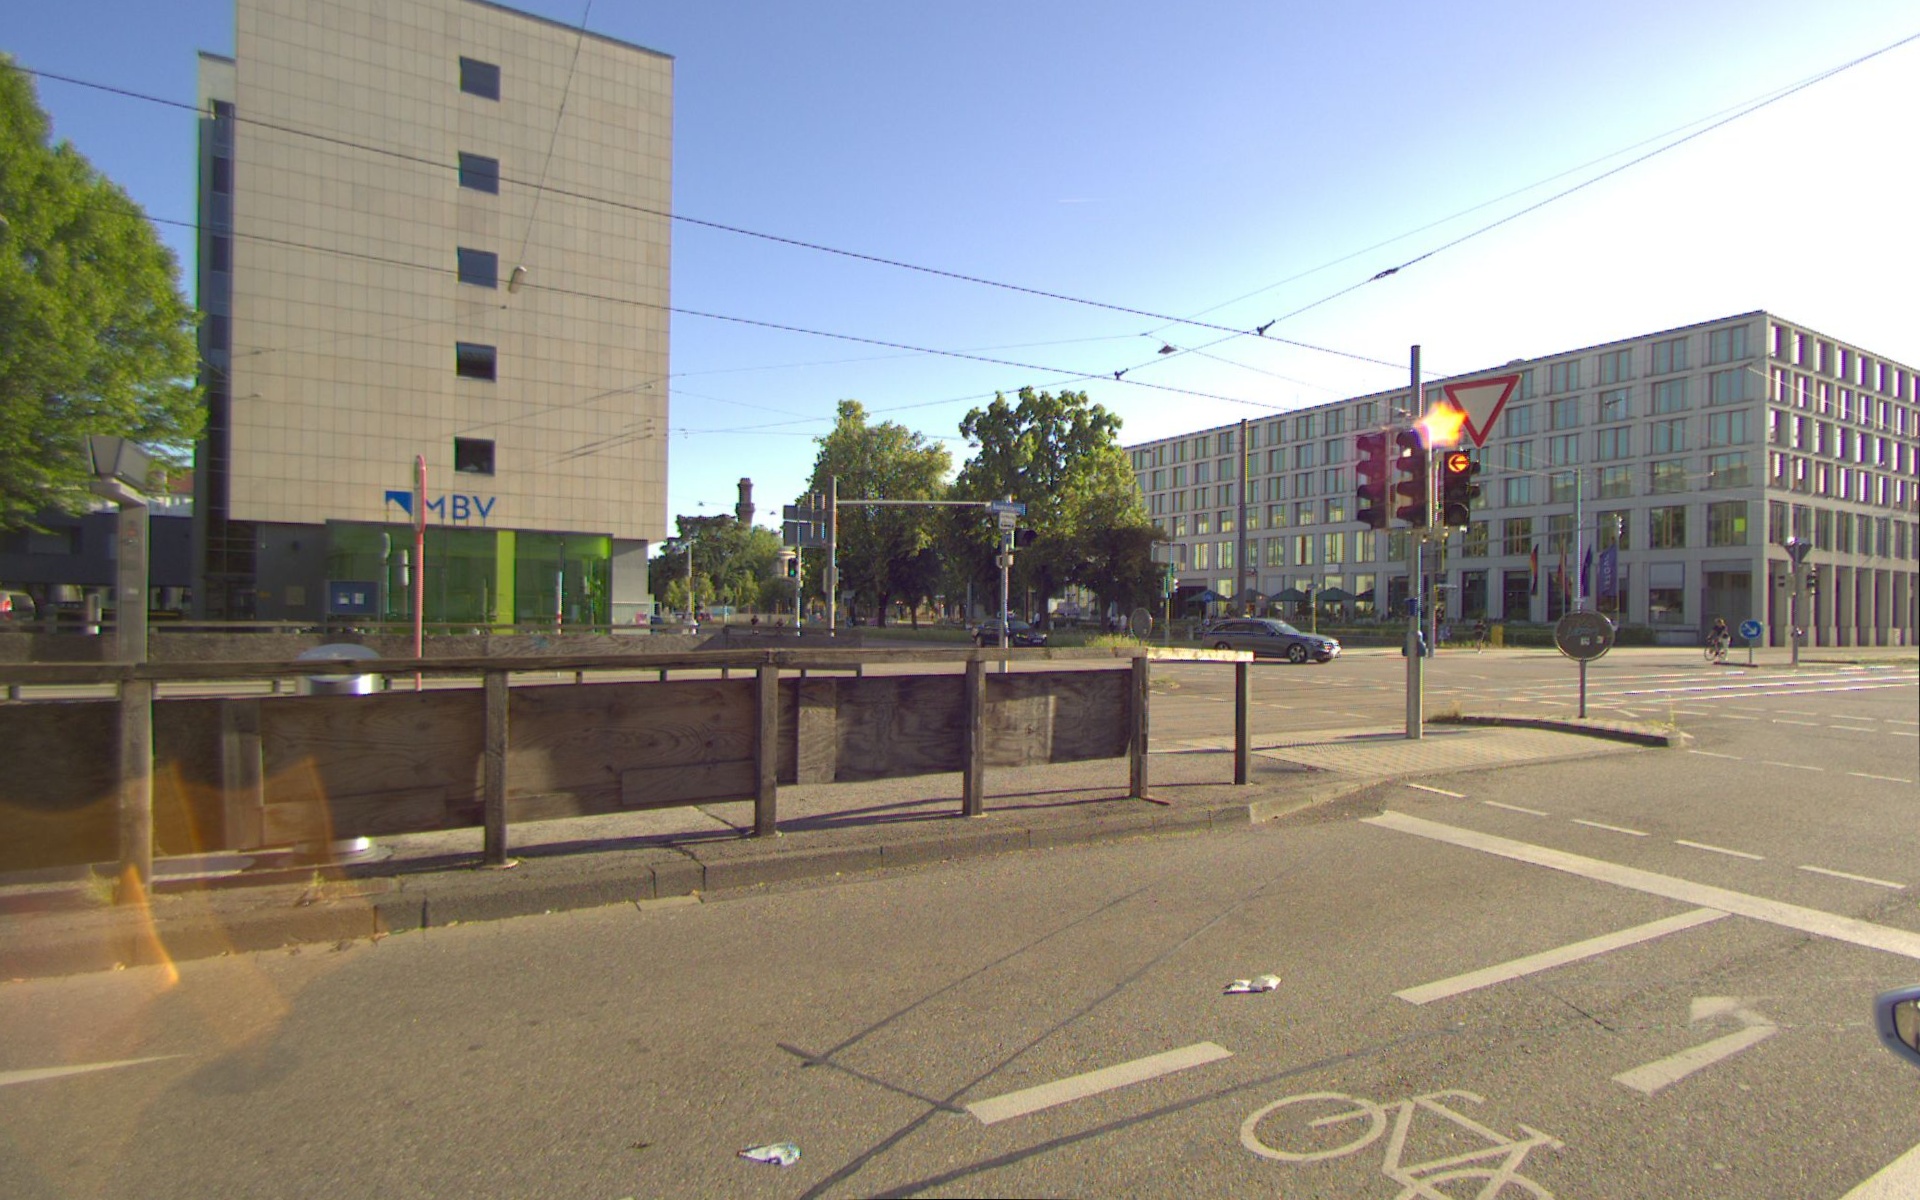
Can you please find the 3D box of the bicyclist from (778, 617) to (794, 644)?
[{"bbox_3d":[-9.608,1.662,55.385,0.610,1.470,0.794,1,-1,-30],"label":"bicyclist"}]

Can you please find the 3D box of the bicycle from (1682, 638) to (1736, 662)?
[{"bbox_3d":[31.783,2.122,42.655,1.833,0.947,0.760,0,-1,37],"label":"bicycle"}]

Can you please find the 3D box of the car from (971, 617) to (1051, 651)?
[{"bbox_3d":[2.395,1.595,48.433,1.647,1.474,4.392,1,0,-32],"label":"car"}]

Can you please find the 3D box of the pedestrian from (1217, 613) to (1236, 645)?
[{"bbox_3d":[16.484,1.789,62.137,0.863,1.925,0.714,2,0,-24],"label":"pedestrian"}]

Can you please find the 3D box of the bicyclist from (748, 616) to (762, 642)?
[{"bbox_3d":[-12.280,1.729,60.117,0.600,1.544,0.758,1,-1,-34],"label":"bicyclist"}]

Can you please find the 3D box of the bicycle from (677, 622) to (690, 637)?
[{"bbox_3d":[-21.720,2.276,78.906,0.574,1.148,1.776,1,-1,-31],"label":"bicycle"}]

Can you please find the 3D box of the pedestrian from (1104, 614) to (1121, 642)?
[{"bbox_3d":[10.712,1.953,70.508,0.865,1.925,0.712,2,0,-31],"label":"pedestrian"}]

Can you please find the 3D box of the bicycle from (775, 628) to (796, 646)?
[{"bbox_3d":[-9.637,2.053,55.459,0.638,0.947,1.735,1,-1,-29],"label":"bicycle"}]

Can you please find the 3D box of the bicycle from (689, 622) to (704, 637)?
[{"bbox_3d":[-20.890,2.313,79.590,0.616,1.148,1.869,1,-1,-31],"label":"bicycle"}]

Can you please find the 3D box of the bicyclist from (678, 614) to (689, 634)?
[{"bbox_3d":[-21.693,1.880,78.862,0.647,1.544,0.615,1,-1,-32],"label":"bicyclist"}]

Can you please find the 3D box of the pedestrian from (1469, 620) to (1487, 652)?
[{"bbox_3d":[26.520,1.850,51.437,0.771,1.610,0.584,1,-1,-41],"label":"pedestrian"}]

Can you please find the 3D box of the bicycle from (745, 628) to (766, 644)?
[{"bbox_3d":[-12.254,2.159,60.076,0.554,0.947,1.846,1,-1,-34],"label":"bicycle"}]

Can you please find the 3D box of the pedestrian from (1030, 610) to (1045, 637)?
[{"bbox_3d":[6.117,1.839,78.947,0.813,2.040,0.840,2,0,-24],"label":"pedestrian"}]

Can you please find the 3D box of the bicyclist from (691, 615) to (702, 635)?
[{"bbox_3d":[-20.896,1.989,79.584,0.602,1.544,0.709,1,-1,-32],"label":"bicyclist"}]

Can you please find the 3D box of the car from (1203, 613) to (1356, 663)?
[{"bbox_3d":[10.937,1.260,34.670,1.884,1.586,4.748,1,-1,-42],"label":"car"}]

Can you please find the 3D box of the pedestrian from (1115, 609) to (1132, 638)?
[{"bbox_3d":[11.535,1.644,71.002,0.815,2.040,0.838,2,0,-29],"label":"pedestrian"}]

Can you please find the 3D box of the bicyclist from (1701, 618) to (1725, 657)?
[{"bbox_3d":[31.888,1.582,42.545,0.765,1.610,0.759,0,-1,35],"label":"bicyclist"}]
